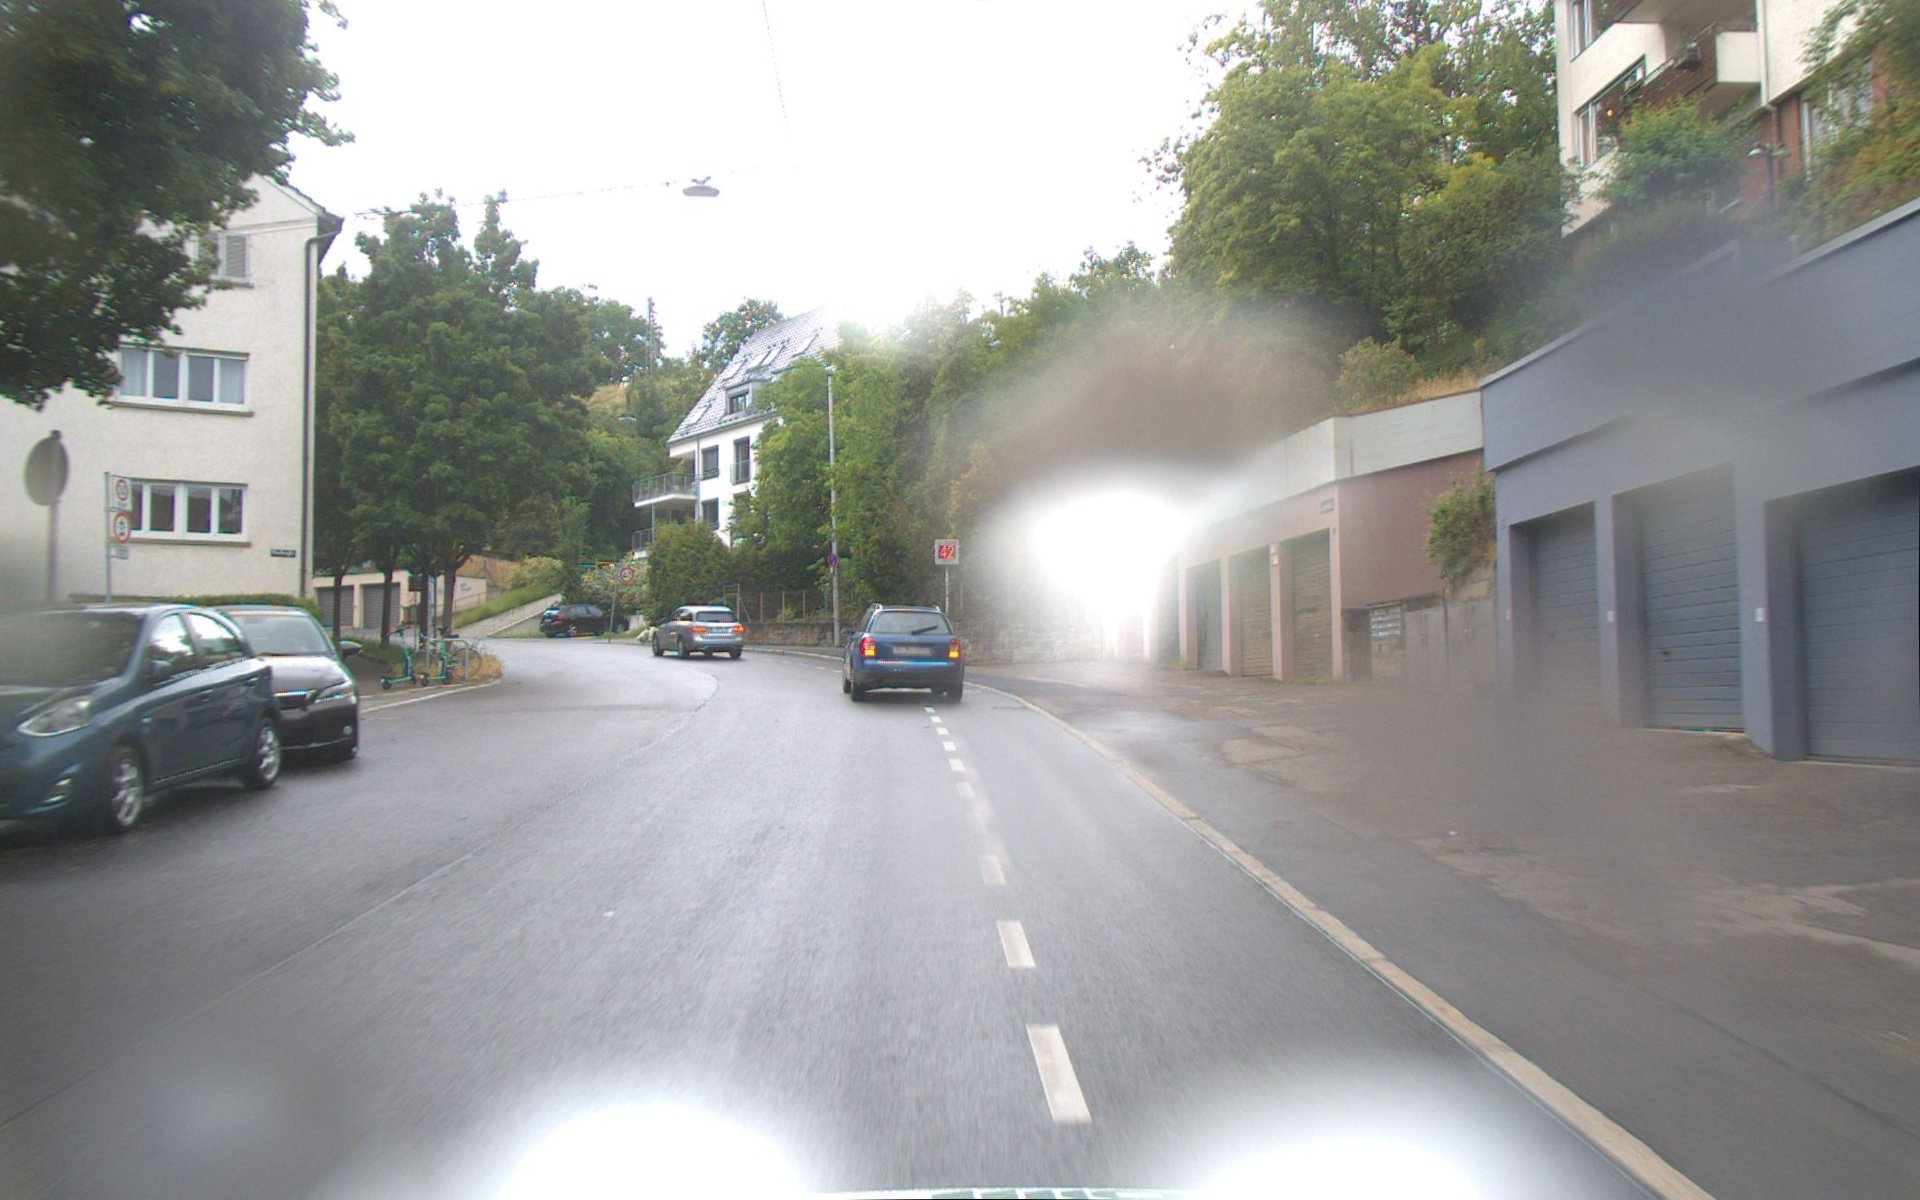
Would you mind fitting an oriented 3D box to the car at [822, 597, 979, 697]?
[{"bbox_3d":[-1.041,0.687,26.341,1.821,1.438,4.349,0,0,-12],"label":"car"}]

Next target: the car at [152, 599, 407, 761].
[{"bbox_3d":[-7.012,0.724,16.787,1.971,1.415,4.157,0,-1,-29],"label":"car"}]

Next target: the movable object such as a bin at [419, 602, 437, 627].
[{"bbox_3d":[-27.406,0.737,85.173,0.567,1.245,0.704,0,0,23],"label":"movable object such as a bin"}]

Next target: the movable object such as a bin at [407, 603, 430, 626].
[{"bbox_3d":[-27.930,0.743,85.330,0.769,1.206,0.862,0,0,23],"label":"movable object such as a bin"}]

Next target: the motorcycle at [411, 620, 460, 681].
[{"bbox_3d":[-10.986,1.049,34.699,0.545,1.225,1.399,0,0,2],"label":"motorcycle"}]

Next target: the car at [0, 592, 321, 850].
[{"bbox_3d":[-6.245,0.737,12.089,1.678,1.488,3.880,2,1,-1],"label":"car"}]

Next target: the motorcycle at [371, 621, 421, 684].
[{"bbox_3d":[-11.575,1.063,33.988,0.541,1.249,1.306,0,0,2],"label":"motorcycle"}]

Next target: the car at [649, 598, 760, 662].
[{"bbox_3d":[-7.459,0.852,48.033,1.927,1.588,4.227,4,0,-27],"label":"car"}]

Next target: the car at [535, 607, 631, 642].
[{"bbox_3d":[-17.190,1.119,75.502,1.707,1.534,4.164,0,0,37],"label":"car"}]

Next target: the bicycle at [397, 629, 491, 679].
[{"bbox_3d":[-11.635,1.204,37.326,1.939,1.079,0.748,0,0,-27],"label":"bicycle"}]
